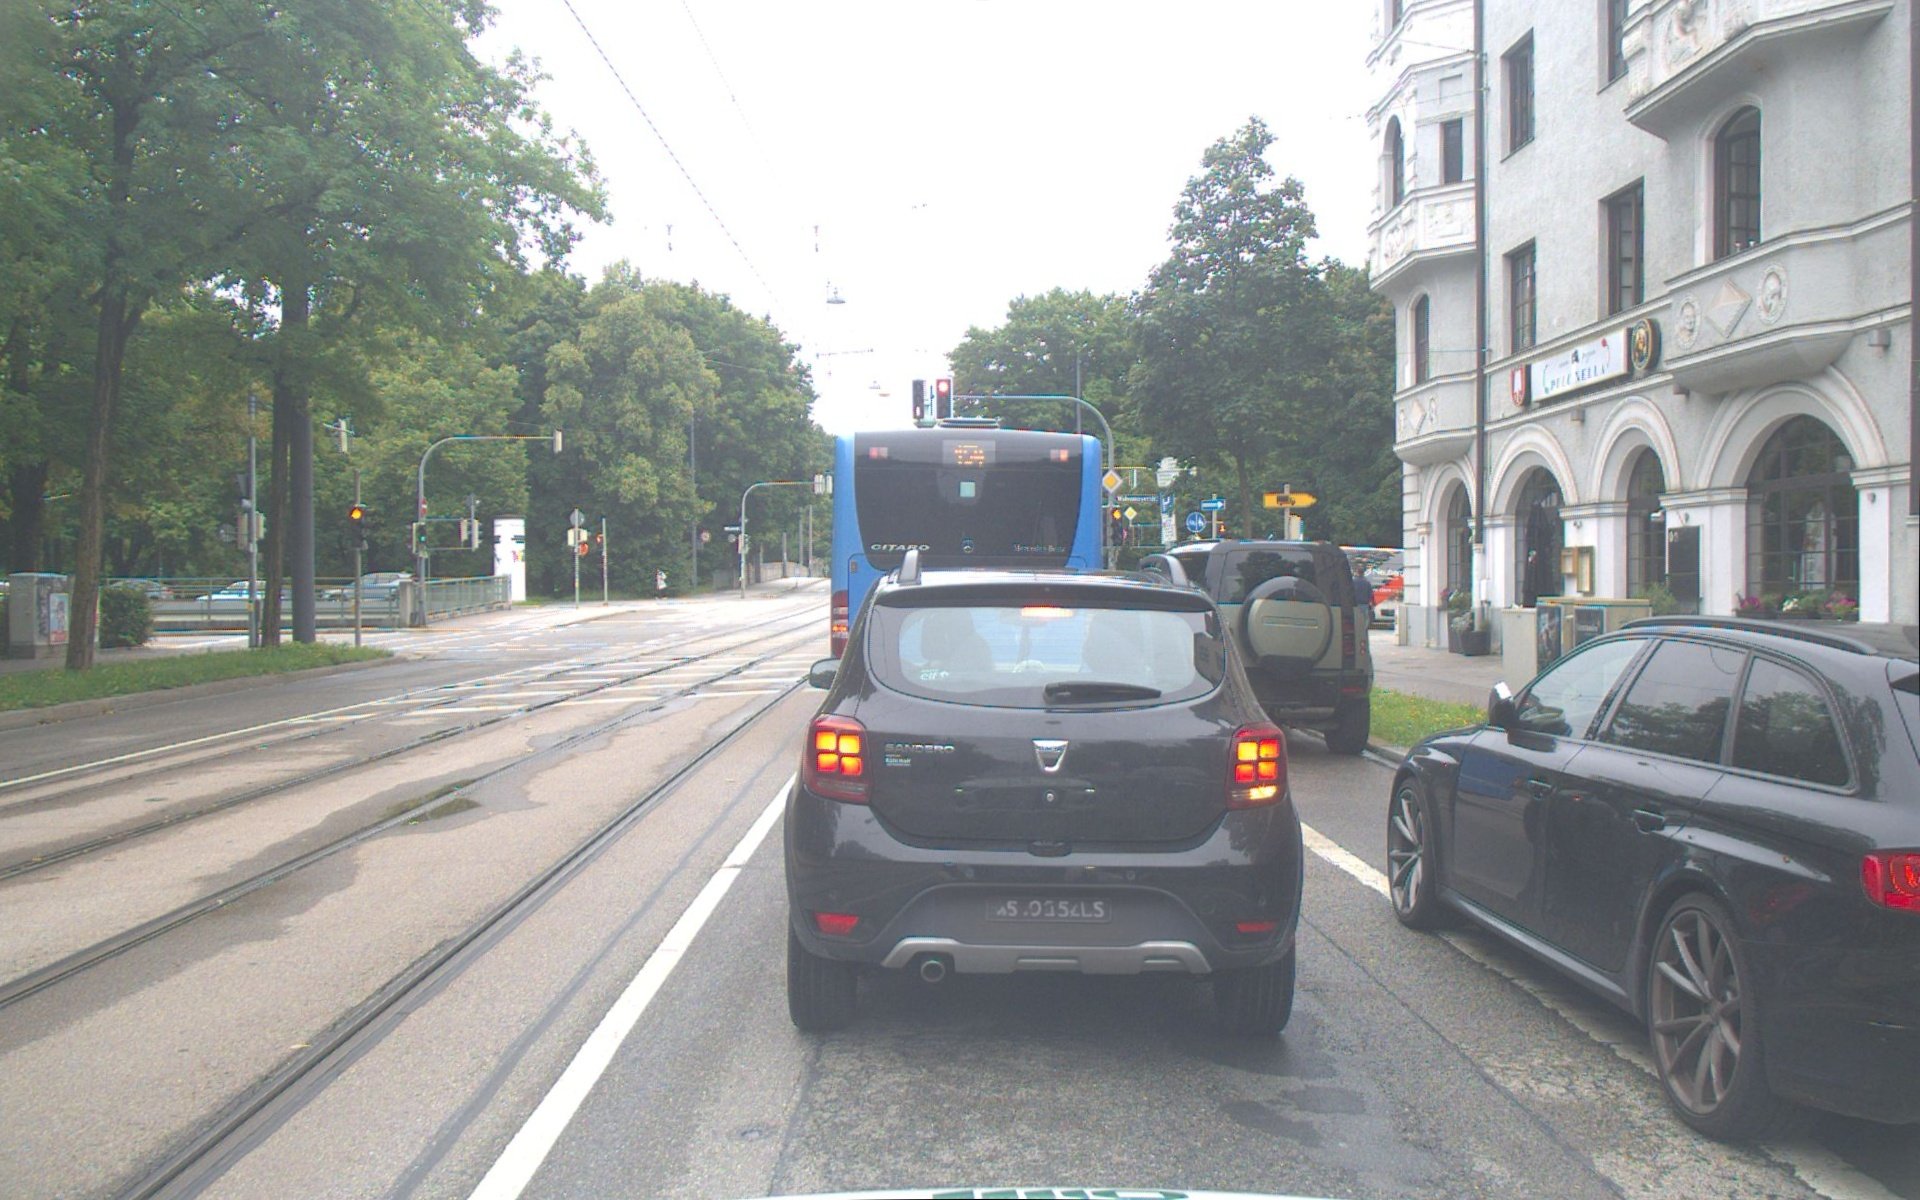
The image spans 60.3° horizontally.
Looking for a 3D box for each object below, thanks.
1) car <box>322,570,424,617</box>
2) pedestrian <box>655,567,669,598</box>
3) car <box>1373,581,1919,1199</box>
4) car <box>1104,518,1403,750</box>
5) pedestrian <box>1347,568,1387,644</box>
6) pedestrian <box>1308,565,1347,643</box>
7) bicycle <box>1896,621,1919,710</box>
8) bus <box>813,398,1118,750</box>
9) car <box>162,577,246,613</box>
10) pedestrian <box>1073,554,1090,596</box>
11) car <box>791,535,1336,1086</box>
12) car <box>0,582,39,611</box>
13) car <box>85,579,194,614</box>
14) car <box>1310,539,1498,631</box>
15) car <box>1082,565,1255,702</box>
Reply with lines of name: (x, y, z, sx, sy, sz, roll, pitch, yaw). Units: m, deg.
car: (-25.831, -0.287, 72.886, 3.946, 1.920, 1.488, 1, 0, -8)
pedestrian: (-14.868, -0.873, 82.550, 0.520, 1.527, 0.588, 1, 0, 4)
car: (2.942, 0.693, 5.871, 1.681, 1.451, 4.601, 1, 0, -1)
car: (2.723, 0.280, 16.525, 1.876, 1.939, 4.805, 1, 0, -3)
pedestrian: (9.698, 0.137, 39.429, 0.690, 1.762, 0.843, 1, 0, -1)
pedestrian: (8.895, 0.086, 40.045, 0.690, 1.848, 0.869, 1, 0, -1)
bicycle: (10.455, 0.708, 17.787, 0.254, 0.947, 0.886, 1, 0, 0)
bus: (-0.098, -0.241, 18.085, 2.625, 3.050, 6.957, 1, 0, -3)
car: (-32.862, -0.236, 71.973, 3.050, 1.477, 1.249, 1, 0, -6)
pedestrian: (6.229, -1.277, 84.992, 0.747, 2.153, 0.853, -1, 1, -1)
car: (0.268, 0.613, 6.616, 1.568, 1.584, 3.524, 1, 0, -1)
car: (-41.935, -0.168, 71.306, 3.655, 1.206, 1.249, 1, 0, -5)
car: (-35.621, -0.157, 71.889, 3.848, 1.429, 1.719, 1, 0, -5)
car: (13.839, -0.460, 51.734, 5.191, 2.658, 2.229, 1, 0, -4)
car: (2.670, 0.392, 22.095, 1.679, 1.619, 4.326, 1, 0, -1)
